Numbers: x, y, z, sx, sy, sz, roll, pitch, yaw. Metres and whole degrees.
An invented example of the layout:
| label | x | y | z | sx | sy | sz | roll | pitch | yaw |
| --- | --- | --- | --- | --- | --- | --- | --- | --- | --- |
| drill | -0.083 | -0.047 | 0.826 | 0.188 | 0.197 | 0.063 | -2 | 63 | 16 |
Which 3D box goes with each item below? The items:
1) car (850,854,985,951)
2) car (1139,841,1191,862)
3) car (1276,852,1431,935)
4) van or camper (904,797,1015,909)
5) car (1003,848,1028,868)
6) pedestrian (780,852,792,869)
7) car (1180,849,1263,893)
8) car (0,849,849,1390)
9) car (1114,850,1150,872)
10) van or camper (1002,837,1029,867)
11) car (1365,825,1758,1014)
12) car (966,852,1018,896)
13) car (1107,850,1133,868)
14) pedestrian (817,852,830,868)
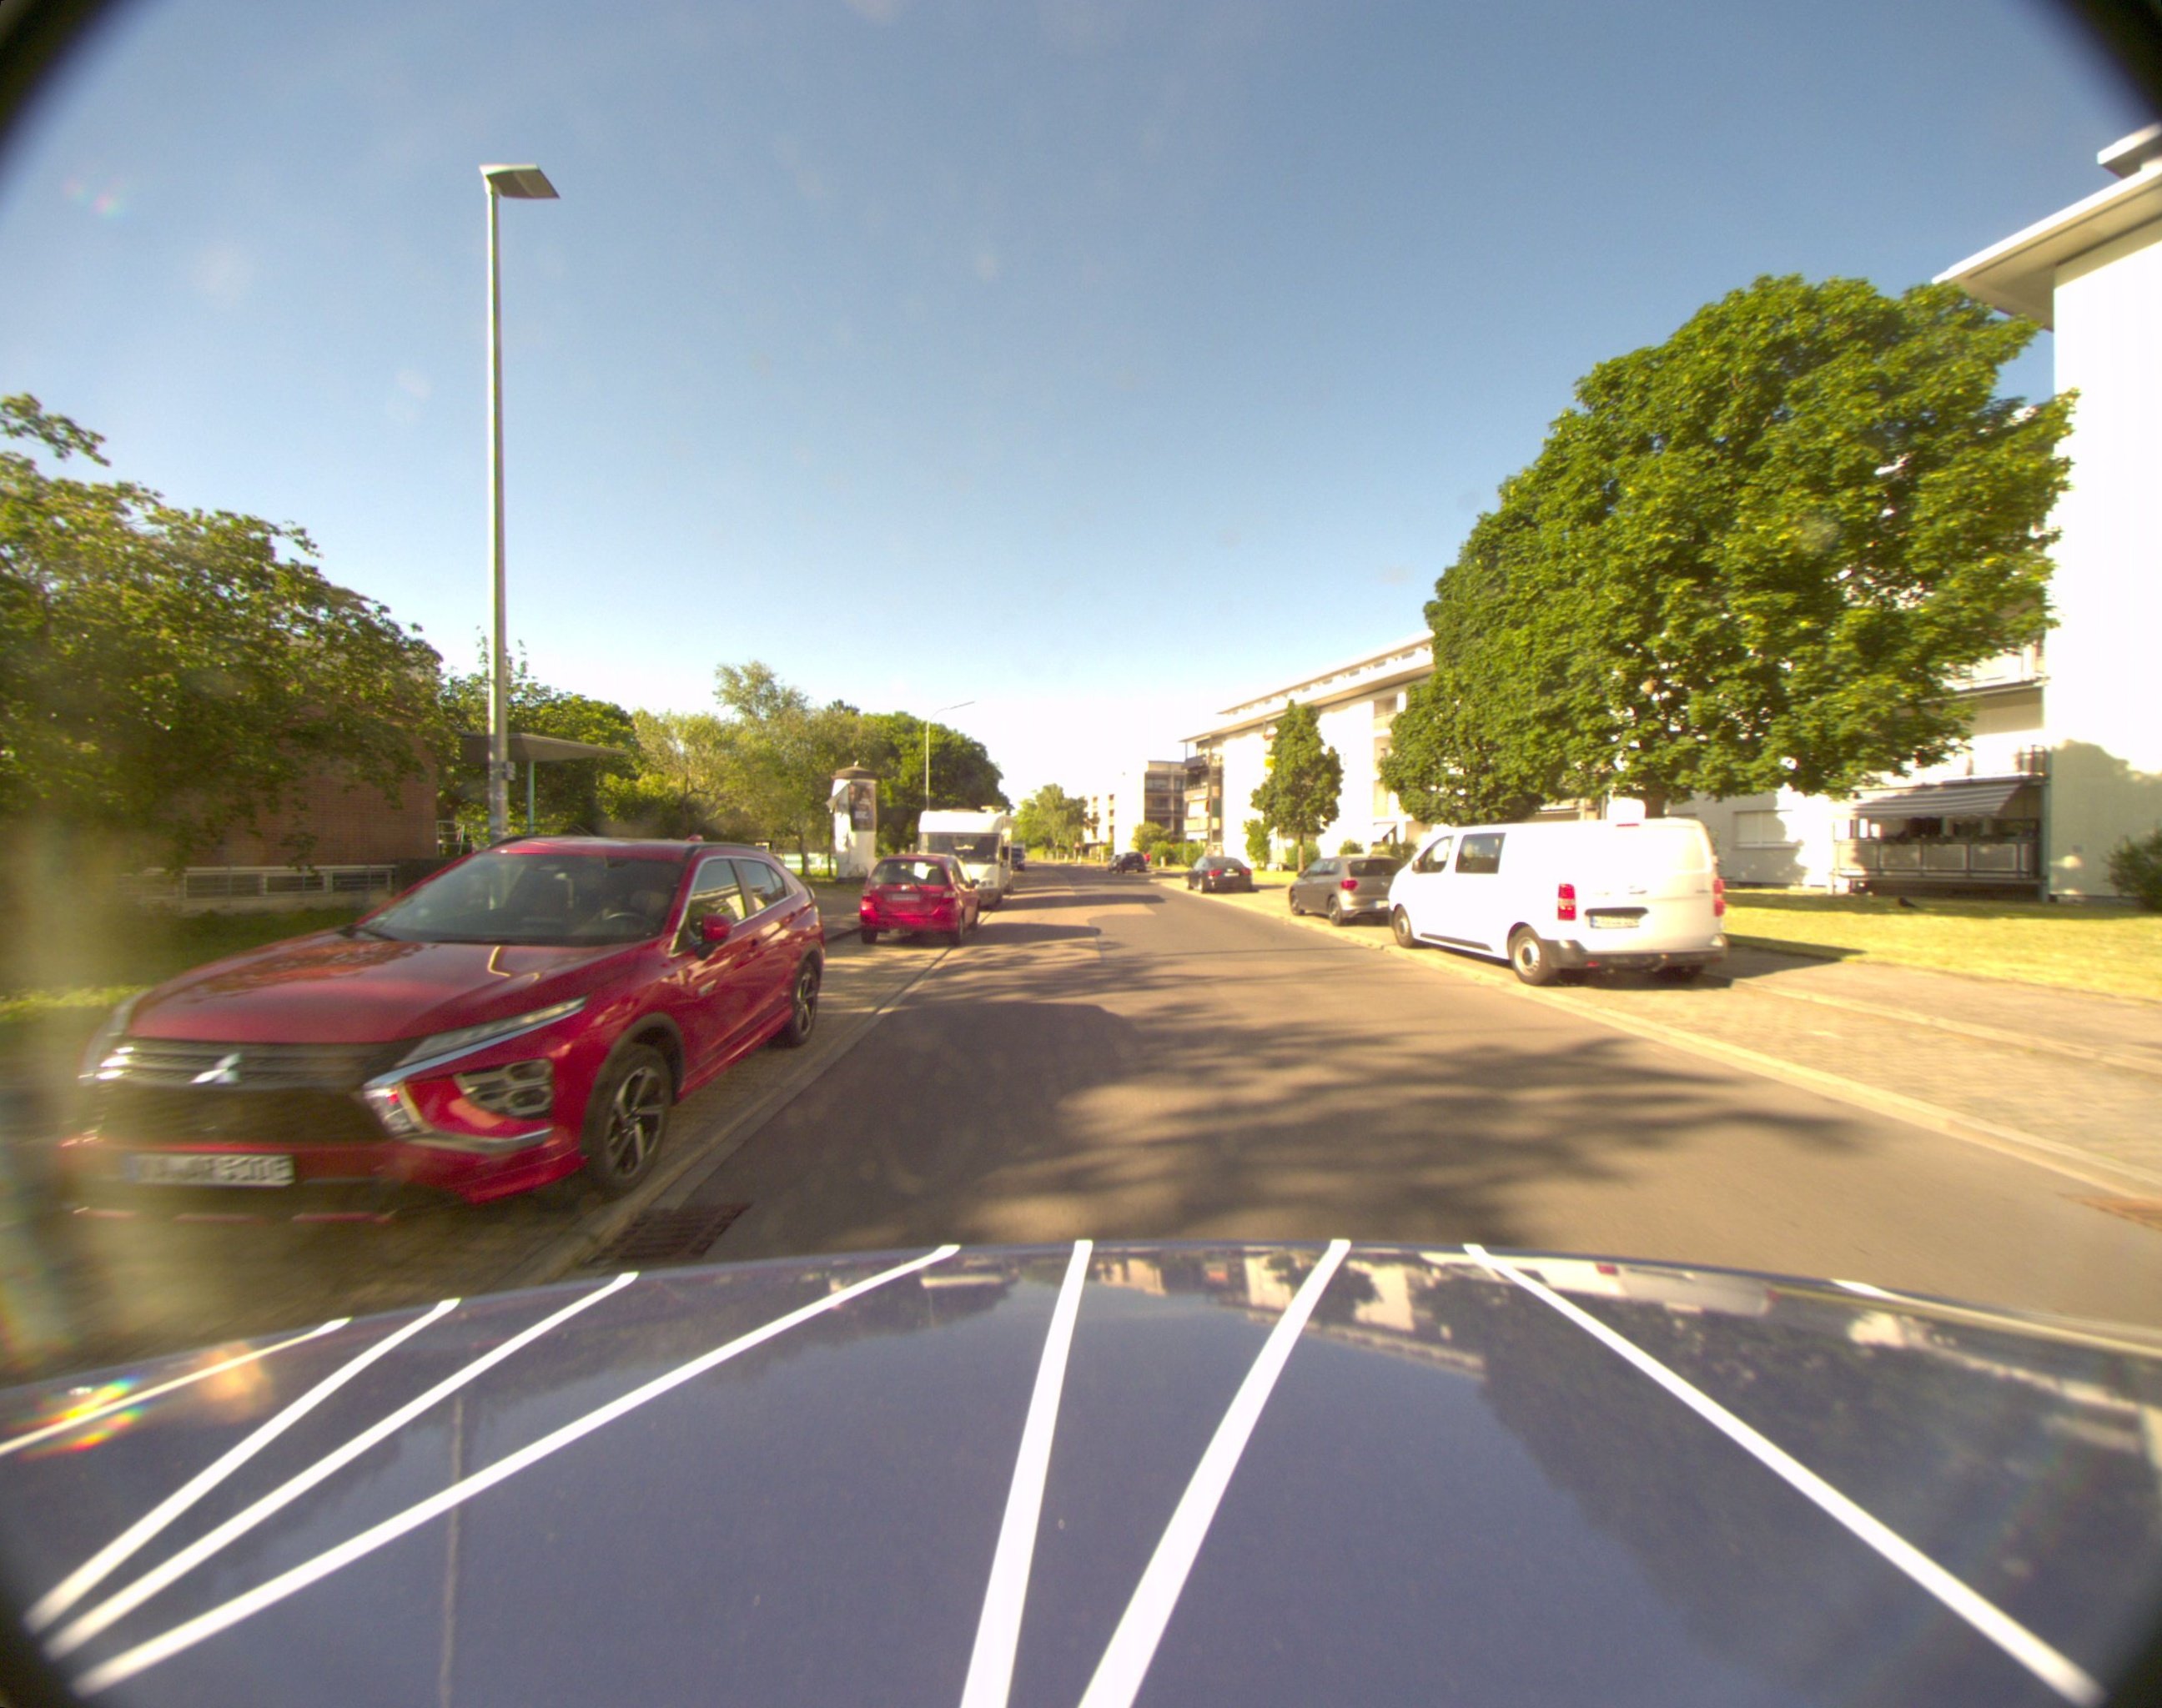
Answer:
| label | x | y | z | sx | sy | sz | roll | pitch | yaw |
| --- | --- | --- | --- | --- | --- | --- | --- | --- | --- |
| car | -2.823 | 0.765 | 13.934 | 1.696 | 1.465 | 3.999 | 1 | 1 | -1 |
| car | 10.196 | -0.286 | 92.695 | 5.924 | 2.414 | 2.212 | 1 | -1 | -8 |
| car | 5.843 | 0.754 | 16.856 | 1.838 | 1.509 | 4.220 | -2 | 1 | -1 |
| van or camper | -3.390 | -0.037 | 22.757 | 2.503 | 2.828 | 6.849 | 1 | 0 | -3 |
| car | -5.715 | 0.347 | 66.009 | 2.000 | 1.631 | 4.533 | 2 | 0 | -7 |
| pedestrian | -19.063 | 0.410 | 49.092 | 0.635 | 1.082 | 0.507 | 1 | 1 | -24 |
| car | 5.352 | 0.601 | 29.667 | 2.040 | 1.484 | 5.254 | -2 | 0 | -2 |
| car | -2.957 | 0.848 | 4.720 | 1.780 | 1.670 | 4.643 | 3 | 0 | -3 |
| car | 3.871 | 0.504 | 58.295 | 1.920 | 1.594 | 4.808 | 0 | 1 | -6 |
| van or camper | -6.295 | -0.182 | 72.766 | 2.359 | 2.581 | 6.422 | 3 | 0 | -5 |
| car | 5.889 | 0.633 | 10.358 | 2.019 | 1.875 | 5.189 | -2 | 1 | -1 |
| car | -3.420 | 0.734 | 29.885 | 1.725 | 1.515 | 4.427 | 3 | 0 | -3 |
| car | 3.293 | 0.412 | 64.676 | 1.651 | 1.458 | 4.328 | -1 | 0 | -4 |
| pedestrian | -17.540 | 0.405 | 51.681 | 0.703 | 1.082 | 0.723 | 1 | 0 | -9 |
